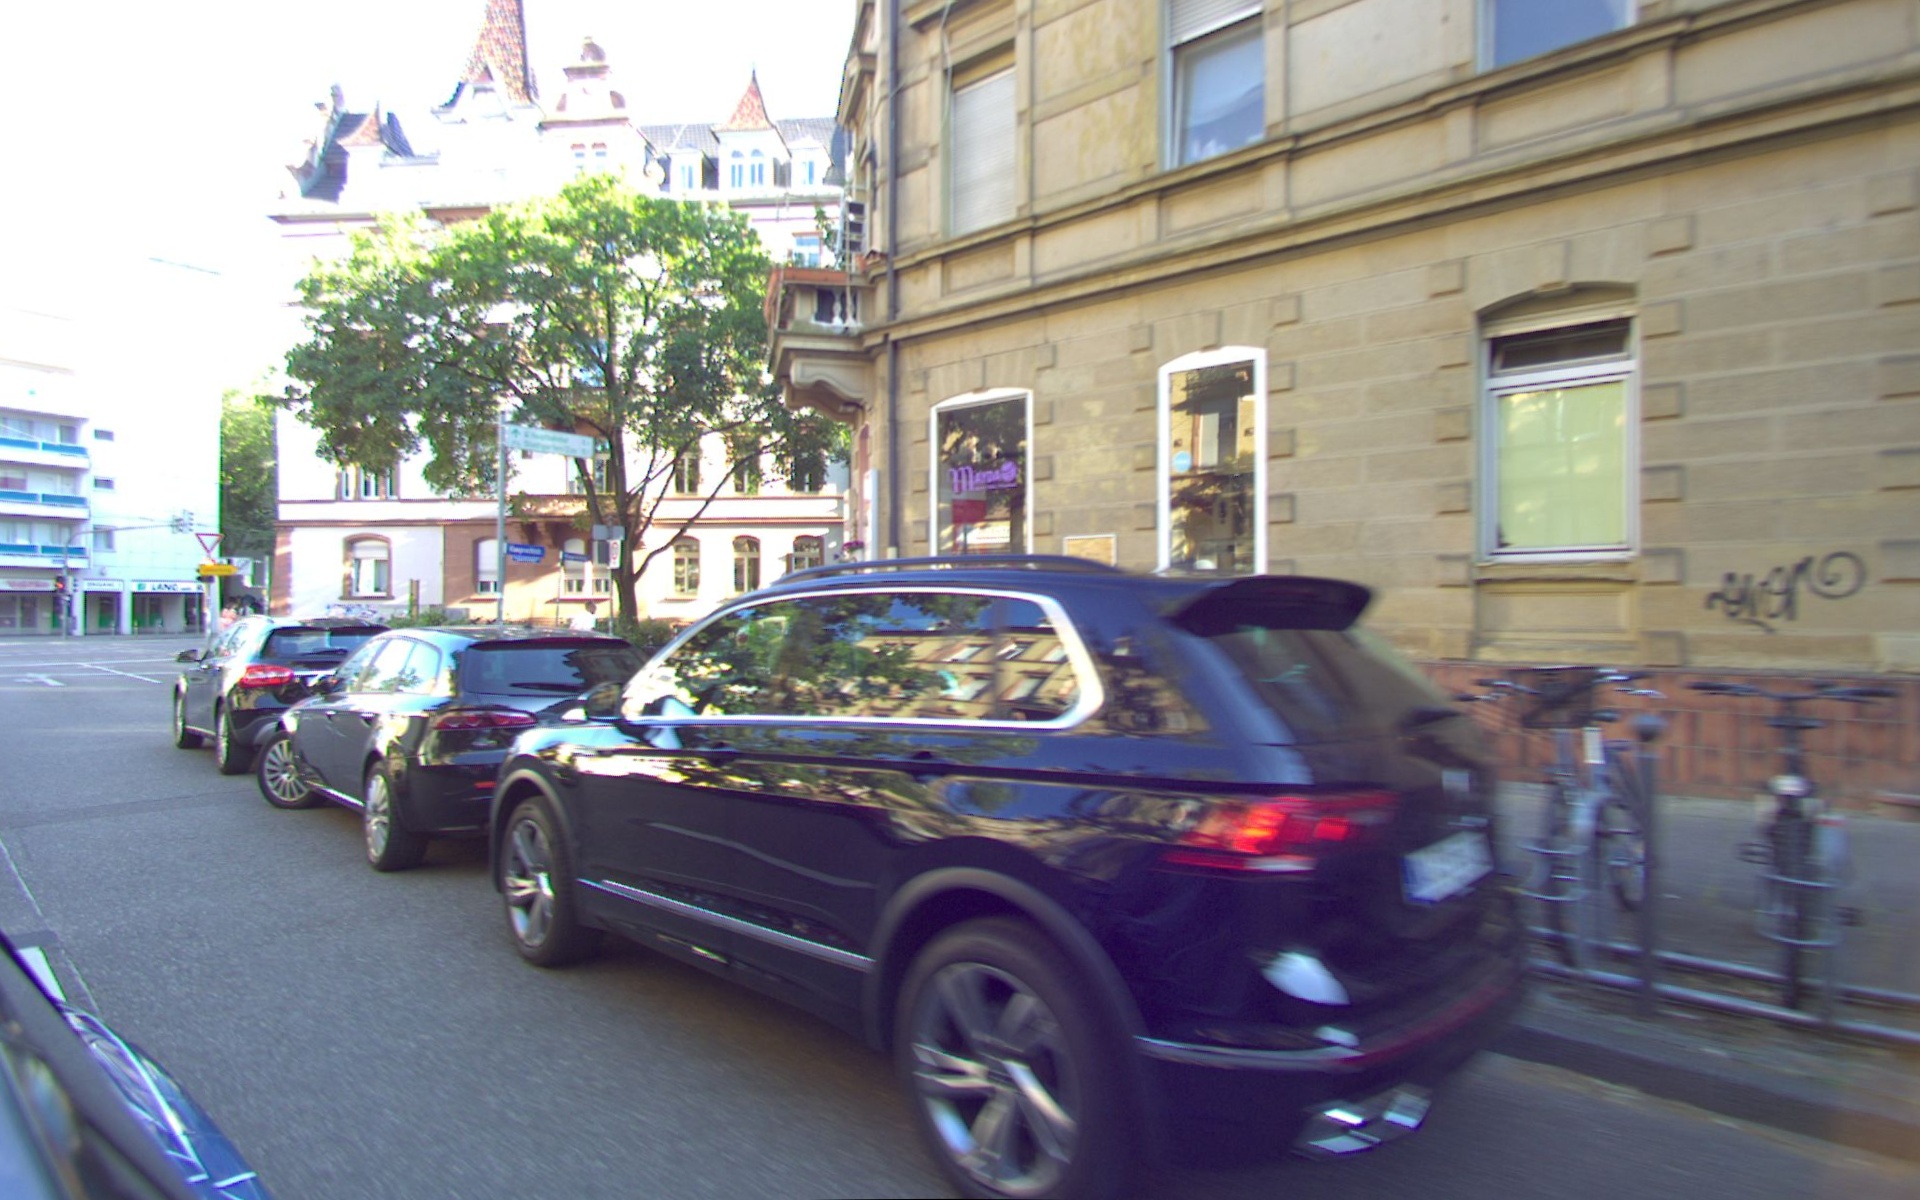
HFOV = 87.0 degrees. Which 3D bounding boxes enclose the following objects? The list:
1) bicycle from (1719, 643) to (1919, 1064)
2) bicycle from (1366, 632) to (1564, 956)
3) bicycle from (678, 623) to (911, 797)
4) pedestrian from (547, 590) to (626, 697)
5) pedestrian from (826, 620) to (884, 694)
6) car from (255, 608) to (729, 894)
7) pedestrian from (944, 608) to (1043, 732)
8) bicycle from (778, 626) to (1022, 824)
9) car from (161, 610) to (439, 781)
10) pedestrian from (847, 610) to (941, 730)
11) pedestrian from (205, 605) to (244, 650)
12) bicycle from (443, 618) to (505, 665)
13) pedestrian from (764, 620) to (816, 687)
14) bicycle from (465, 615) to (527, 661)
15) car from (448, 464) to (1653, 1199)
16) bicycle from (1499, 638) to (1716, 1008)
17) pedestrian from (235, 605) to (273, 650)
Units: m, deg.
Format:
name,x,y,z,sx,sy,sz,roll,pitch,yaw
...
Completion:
name,x,y,z,sx,sy,sz,roll,pitch,yaw
bicycle,3.264,0.783,3.823,0.528,1.137,1.848,-1,1,40
bicycle,2.293,0.763,4.783,0.524,1.137,1.863,-1,1,17
bicycle,-1.228,0.781,7.871,0.528,1.137,1.847,0,1,42
pedestrian,-6.941,0.785,18.825,0.840,1.913,1.106,-1,-1,31
pedestrian,-1.791,0.952,17.339,0.751,1.223,0.722,-1,-1,21
car,-3.673,0.810,7.432,1.738,1.463,4.553,2,-2,-44
pedestrian,0.347,0.698,10.535,0.756,1.223,0.718,-1,-1,38
bicycle,-0.358,0.789,7.055,0.528,1.137,1.847,0,1,42
car,-7.288,0.879,10.994,1.738,1.499,4.141,2,-2,-44
pedestrian,-0.731,0.743,11.199,0.756,1.268,0.718,-1,-1,38
pedestrian,-28.660,1.060,39.454,0.856,1.710,0.985,0,-1,-5
bicycle,-13.174,1.086,27.387,2.960,1.205,0.540,-1,-1,45
pedestrian,-3.415,1.065,20.392,0.740,1.299,0.738,-1,-1,30
bicycle,-12.771,1.014,27.815,2.960,1.205,0.540,-1,-1,45
car,-0.232,0.637,3.899,4.552,1.612,1.738,-2,-2,45
bicycle,2.775,0.774,4.244,0.528,1.137,1.848,-1,1,40
pedestrian,-27.635,1.066,39.633,0.857,1.710,0.985,0,-1,-3
